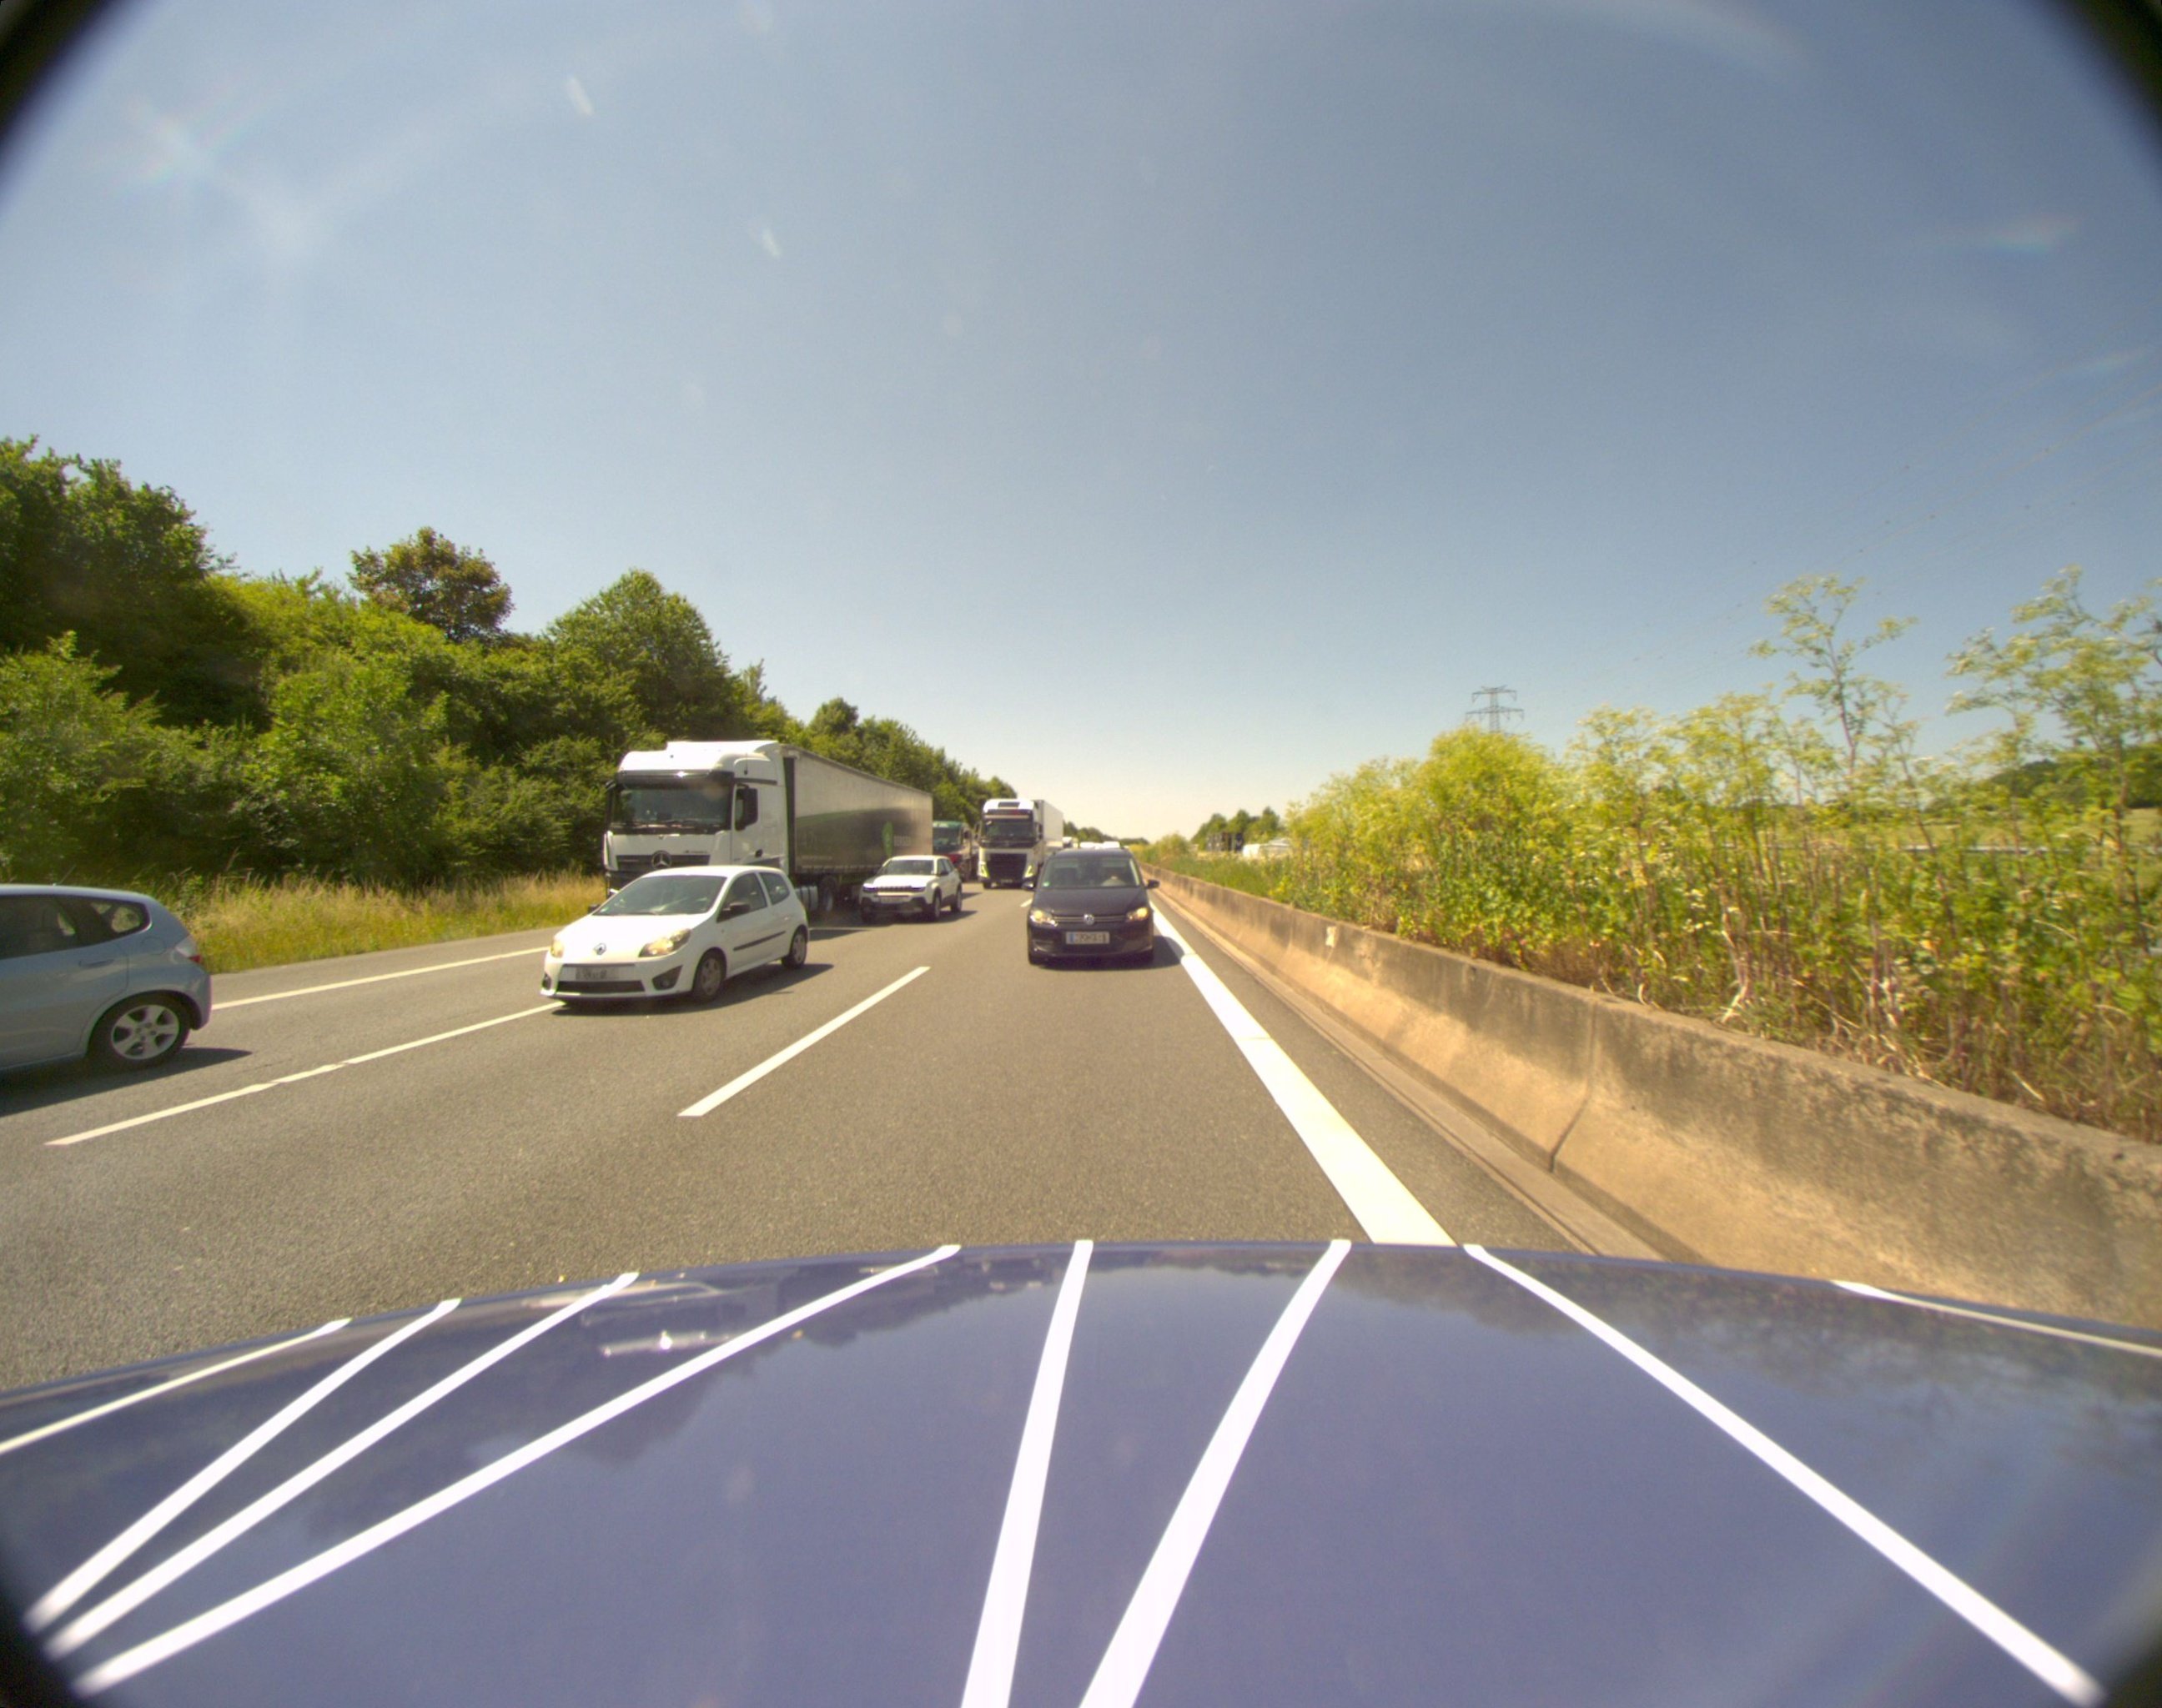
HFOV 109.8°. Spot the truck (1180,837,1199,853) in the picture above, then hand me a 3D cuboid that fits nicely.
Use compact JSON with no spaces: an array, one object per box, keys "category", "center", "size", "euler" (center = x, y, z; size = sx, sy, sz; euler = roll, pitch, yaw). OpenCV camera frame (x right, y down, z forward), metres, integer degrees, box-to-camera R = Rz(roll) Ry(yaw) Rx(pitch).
[{"category":"truck","center":[22.953,-1.943,161.051],"size":[2.771,3.269,11.820],"euler":[-1,1,3]}]

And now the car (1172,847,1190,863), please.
[{"category":"car","center":[11.212,0.065,85.118],"size":[1.585,1.744,3.688],"euler":[-1,1,2]}]

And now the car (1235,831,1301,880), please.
[{"category":"car","center":[8.844,0.037,36.305],"size":[1.998,2.134,4.600],"euler":[-2,1,1]}]

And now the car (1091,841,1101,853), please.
[{"category":"car","center":[3.111,-1.458,154.147],"size":[1.998,2.302,4.229],"euler":[-1,1,1]}]

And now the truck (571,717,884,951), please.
[{"category":"truck","center":[-7.460,-0.408,17.887],"size":[2.879,4.133,8.475],"euler":[-1,1,3]}]

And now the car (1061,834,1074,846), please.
[{"category":"car","center":[-2.256,-2.412,130.870],"size":[1.998,2.002,4.000],"euler":[-1,1,2]}]

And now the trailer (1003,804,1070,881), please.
[{"category":"trailer","center":[-2.386,-0.680,44.048],"size":[2.776,3.951,9.156],"euler":[-1,1,3]}]

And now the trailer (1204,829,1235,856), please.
[{"category":"trailer","center":[19.784,-1.589,108.789],"size":[3.132,3.737,7.869],"euler":[-1,1,1]}]

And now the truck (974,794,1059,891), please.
[{"category":"truck","center":[-2.808,-0.538,35.877],"size":[2.750,3.972,8.361],"euler":[-1,1,3]}]

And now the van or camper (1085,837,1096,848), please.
[{"category":"van or camper","center":[2.603,-2.988,200.282],"size":[2.745,2.680,5.363],"euler":[-1,1,3]}]

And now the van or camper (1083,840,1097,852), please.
[{"category":"van or camper","center":[1.661,-1.465,135.449],"size":[2.189,2.018,4.364],"euler":[-1,1,3]}]

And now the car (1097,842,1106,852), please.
[{"category":"car","center":[4.774,-1.568,173.772],"size":[1.998,2.302,4.229],"euler":[-1,1,3]}]

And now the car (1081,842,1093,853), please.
[{"category":"car","center":[0.965,-0.991,119.730],"size":[1.652,1.636,4.000],"euler":[-1,1,3]}]

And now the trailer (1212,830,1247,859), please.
[{"category":"trailer","center":[19.633,-1.258,100.882],"size":[3.190,3.740,8.200],"euler":[-1,1,2]}]

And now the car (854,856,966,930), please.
[{"category":"car","center":[-4.095,0.868,18.819],"size":[1.748,1.549,3.884],"euler":[0,1,2]}]

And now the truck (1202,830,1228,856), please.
[{"category":"truck","center":[19.882,-1.581,113.122],"size":[3.079,3.688,5.463],"euler":[-1,1,1]}]

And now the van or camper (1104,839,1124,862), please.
[{"category":"van or camper","center":[3.504,-0.418,80.785],"size":[1.956,2.368,4.037],"euler":[-2,1,3]}]

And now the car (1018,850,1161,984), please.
[{"category":"car","center":[0.220,0.784,12.143],"size":[1.758,1.571,5.291],"euler":[-1,1,2]}]

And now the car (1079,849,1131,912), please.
[{"category":"car","center":[0.731,0.716,22.125],"size":[1.357,1.630,2.994],"euler":[-2,1,3]}]

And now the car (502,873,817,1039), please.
[{"category":"car","center":[-4.737,1.035,9.257],"size":[1.609,1.426,3.809],"euler":[0,1,2]}]

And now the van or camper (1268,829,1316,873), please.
[{"category":"van or camper","center":[14.253,-0.197,51.634],"size":[2.053,2.843,4.649],"euler":[-1,1,2]}]

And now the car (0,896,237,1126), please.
[{"category":"car","center":[-8.125,1.111,4.562],"size":[1.666,1.453,3.922],"euler":[0,1,2]}]

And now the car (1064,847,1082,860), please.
[{"category":"car","center":[-0.853,-0.072,83.198],"size":[1.650,1.336,3.381],"euler":[-1,1,3]}]

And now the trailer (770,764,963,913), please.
[{"category":"trailer","center":[-6.984,-0.511,27.416],"size":[2.879,4.133,12.075],"euler":[-1,1,3]}]

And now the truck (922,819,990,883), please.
[{"category":"truck","center":[-6.503,-0.196,40.417],"size":[2.299,3.128,5.675],"euler":[-1,1,3]}]
